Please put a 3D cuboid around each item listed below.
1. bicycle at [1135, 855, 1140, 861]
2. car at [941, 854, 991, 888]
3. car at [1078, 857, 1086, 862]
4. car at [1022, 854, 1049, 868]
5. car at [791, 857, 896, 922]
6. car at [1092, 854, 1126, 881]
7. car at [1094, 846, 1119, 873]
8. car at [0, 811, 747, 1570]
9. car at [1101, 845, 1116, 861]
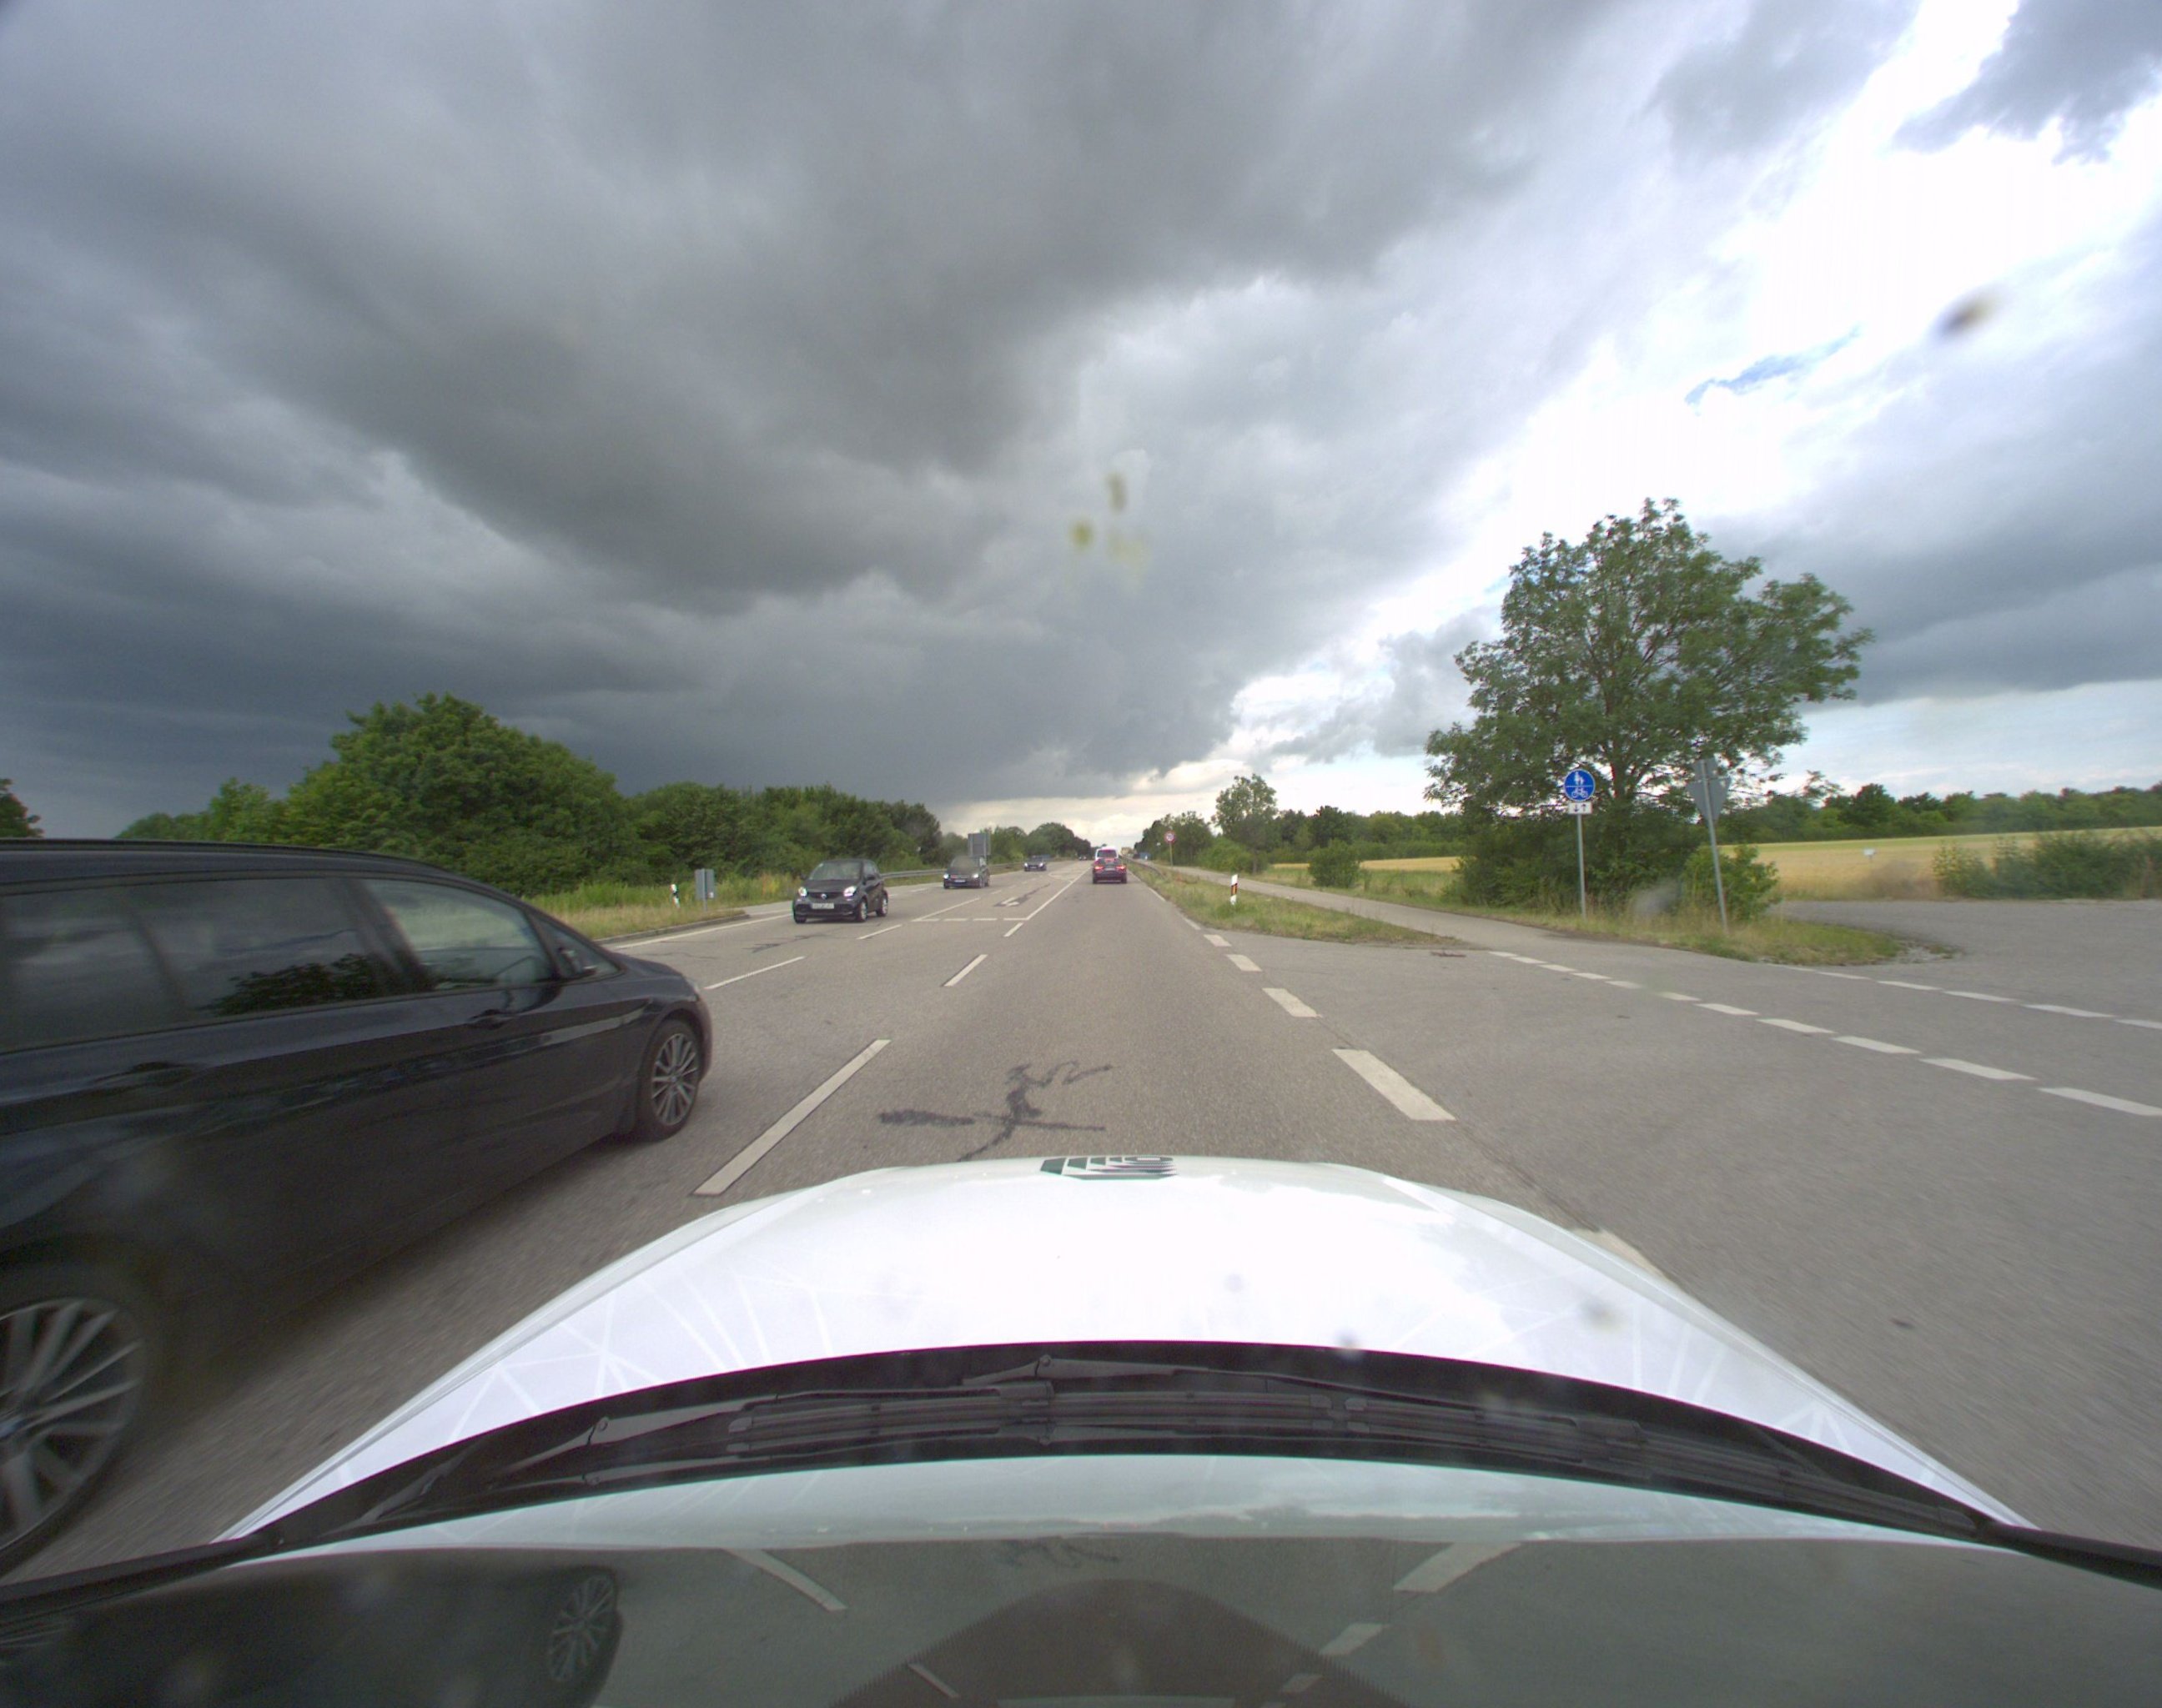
[{"bbox_3d":[9.829,0.715,141.929,0.663,0.920,1.831,-2,0,2],"label":"bicycle"},{"bbox_3d":[-5.595,0.804,39.985,1.736,1.530,4.200,-1,0,1],"label":"car"},{"bbox_3d":[0.309,1.404,209.384,1.855,1.376,4.002,1,-1,3],"label":"car"},{"bbox_3d":[-4.346,0.671,78.112,2.156,1.285,4.239,0,0,2],"label":"car"},{"bbox_3d":[-5.942,0.846,20.751,1.655,1.484,3.169,-1,0,1],"label":"car"},{"bbox_3d":[1.510,0.718,44.161,1.779,1.424,4.002,-1,0,2],"label":"car"},{"bbox_3d":[1.867,0.391,60.175,1.779,1.890,4.002,-1,0,2],"label":"car"},{"bbox_3d":[-3.112,0.724,3.135,1.696,1.611,4.483,0,0,1],"label":"car"},{"bbox_3d":[4.500,-0.182,132.598,2.438,2.504,5.044,-1,0,2],"label":"car"}]
